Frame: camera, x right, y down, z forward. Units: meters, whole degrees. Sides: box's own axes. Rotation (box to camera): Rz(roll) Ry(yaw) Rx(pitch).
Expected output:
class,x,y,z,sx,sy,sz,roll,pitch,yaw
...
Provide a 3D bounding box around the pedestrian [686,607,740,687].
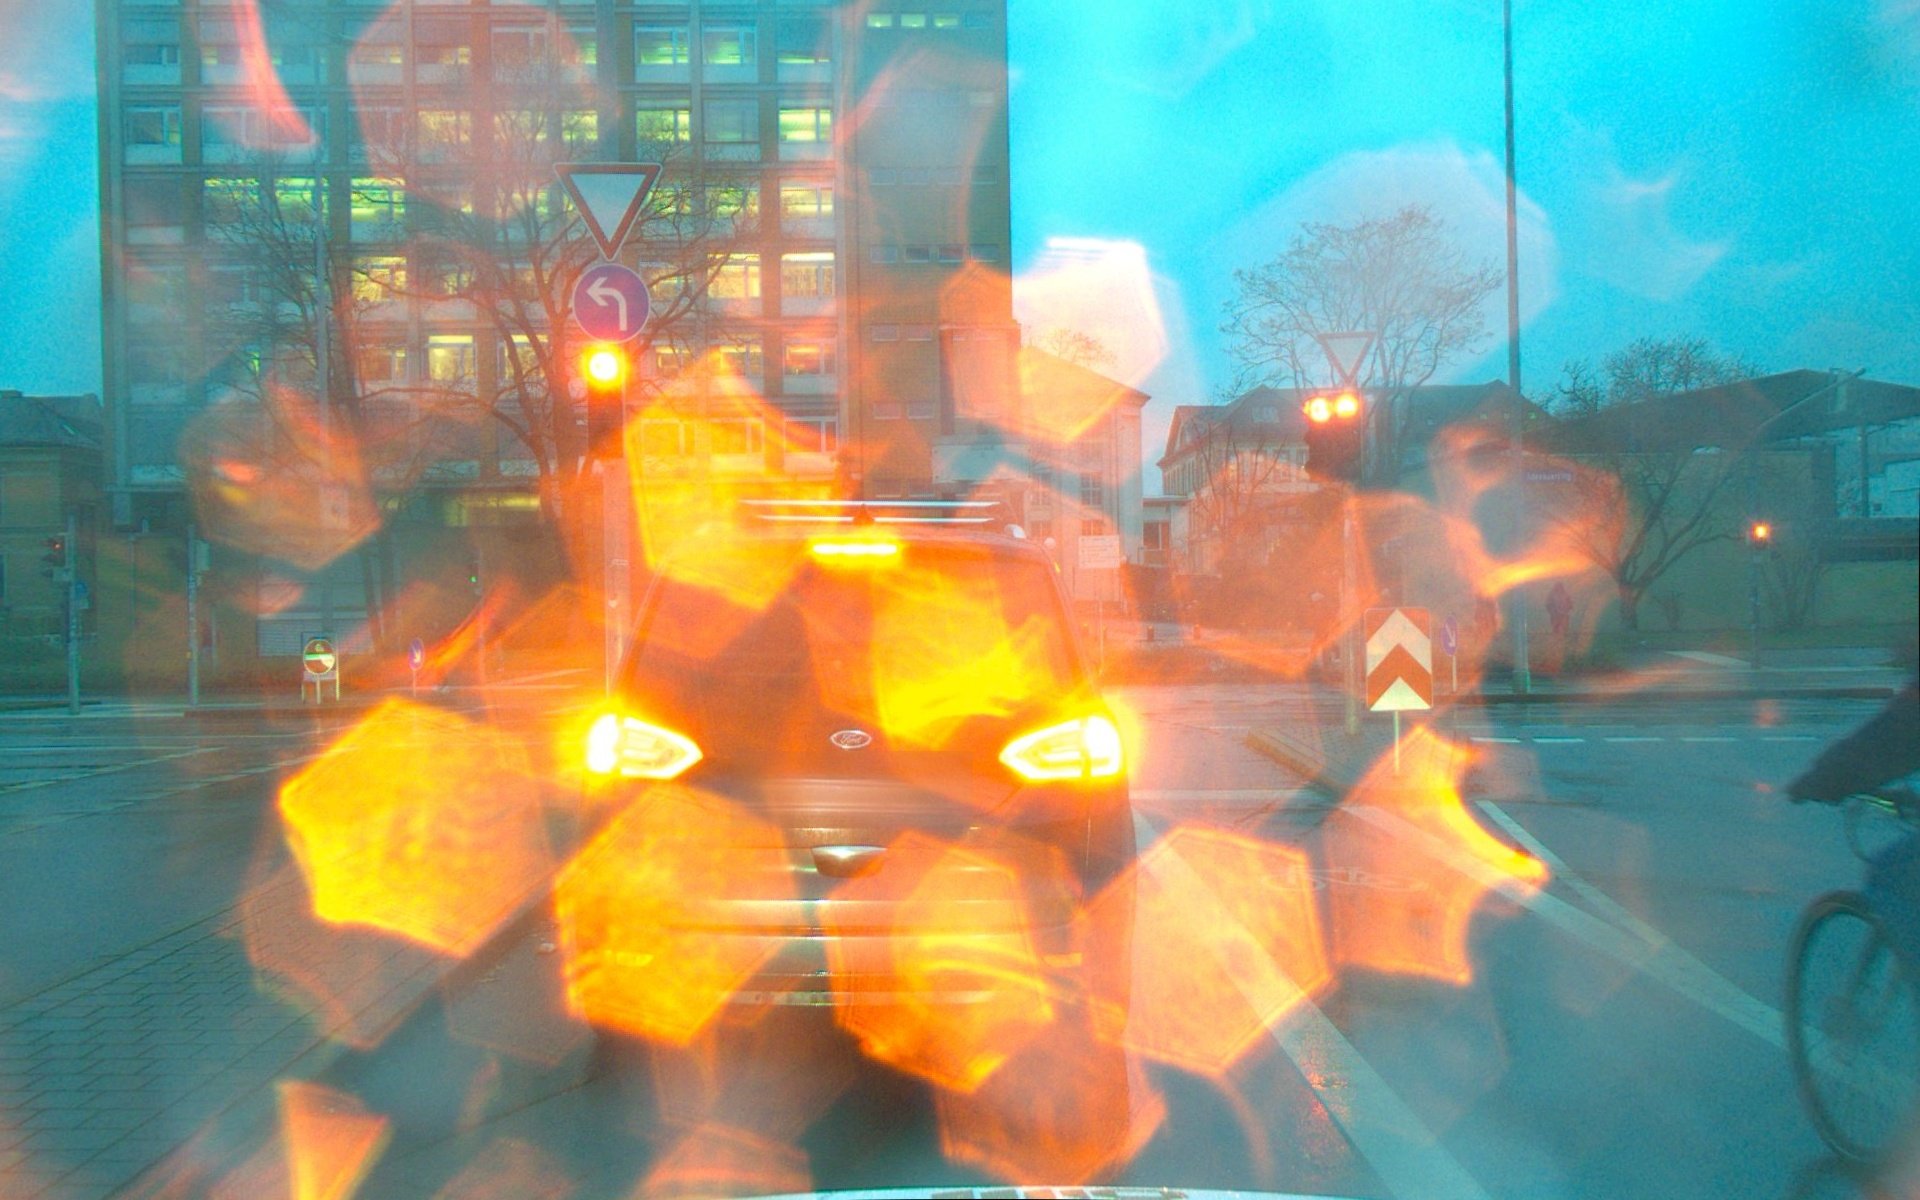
class,x,y,z,sx,sy,sz,roll,pitch,yaw
pedestrian,-6.434,1.212,43.088,0.913,2.013,0.955,-2,1,41

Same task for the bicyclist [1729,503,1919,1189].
class,x,y,z,sx,sy,sz,roll,pitch,yaw
bicyclist,2.455,0.537,3.865,0.767,1.478,1.133,1,0,-1

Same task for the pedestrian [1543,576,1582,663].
class,x,y,z,sx,sy,sz,roll,pitch,yaw
pedestrian,15.246,0.491,41.838,0.865,2.150,0.896,-2,0,21

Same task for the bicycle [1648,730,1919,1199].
class,x,y,z,sx,sy,sz,roll,pitch,yaw
bicycle,2.438,0.935,3.923,0.767,1.094,1.956,1,0,-1

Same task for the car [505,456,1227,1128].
class,x,y,z,sx,sy,sz,roll,pitch,yaw
car,-0.280,0.540,6.549,1.953,1.821,3.999,1,0,-1

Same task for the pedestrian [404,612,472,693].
class,x,y,z,sx,sy,sz,roll,pitch,yaw
pedestrian,-12.752,1.280,40.450,0.982,1.874,1.138,-1,3,28

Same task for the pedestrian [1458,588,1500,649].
class,x,y,z,sx,sy,sz,roll,pitch,yaw
pedestrian,13.610,0.481,43.409,0.874,1.559,0.886,-2,0,8

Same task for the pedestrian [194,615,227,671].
class,x,y,z,sx,sy,sz,roll,pitch,yaw
pedestrian,-23.372,1.336,51.564,0.625,1.718,0.637,-2,0,16

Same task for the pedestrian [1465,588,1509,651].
class,x,y,z,sx,sy,sz,roll,pitch,yaw
pedestrian,13.482,0.500,42.330,0.905,1.559,1.044,-2,0,10

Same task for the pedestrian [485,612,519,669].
class,x,y,z,sx,sy,sz,roll,pitch,yaw
pedestrian,-13.441,1.187,48.562,0.743,1.656,0.558,-2,0,14

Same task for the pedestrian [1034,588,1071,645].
class,x,y,z,sx,sy,sz,roll,pitch,yaw
pedestrian,2.709,0.486,48.608,0.754,1.656,0.711,-2,0,-38
